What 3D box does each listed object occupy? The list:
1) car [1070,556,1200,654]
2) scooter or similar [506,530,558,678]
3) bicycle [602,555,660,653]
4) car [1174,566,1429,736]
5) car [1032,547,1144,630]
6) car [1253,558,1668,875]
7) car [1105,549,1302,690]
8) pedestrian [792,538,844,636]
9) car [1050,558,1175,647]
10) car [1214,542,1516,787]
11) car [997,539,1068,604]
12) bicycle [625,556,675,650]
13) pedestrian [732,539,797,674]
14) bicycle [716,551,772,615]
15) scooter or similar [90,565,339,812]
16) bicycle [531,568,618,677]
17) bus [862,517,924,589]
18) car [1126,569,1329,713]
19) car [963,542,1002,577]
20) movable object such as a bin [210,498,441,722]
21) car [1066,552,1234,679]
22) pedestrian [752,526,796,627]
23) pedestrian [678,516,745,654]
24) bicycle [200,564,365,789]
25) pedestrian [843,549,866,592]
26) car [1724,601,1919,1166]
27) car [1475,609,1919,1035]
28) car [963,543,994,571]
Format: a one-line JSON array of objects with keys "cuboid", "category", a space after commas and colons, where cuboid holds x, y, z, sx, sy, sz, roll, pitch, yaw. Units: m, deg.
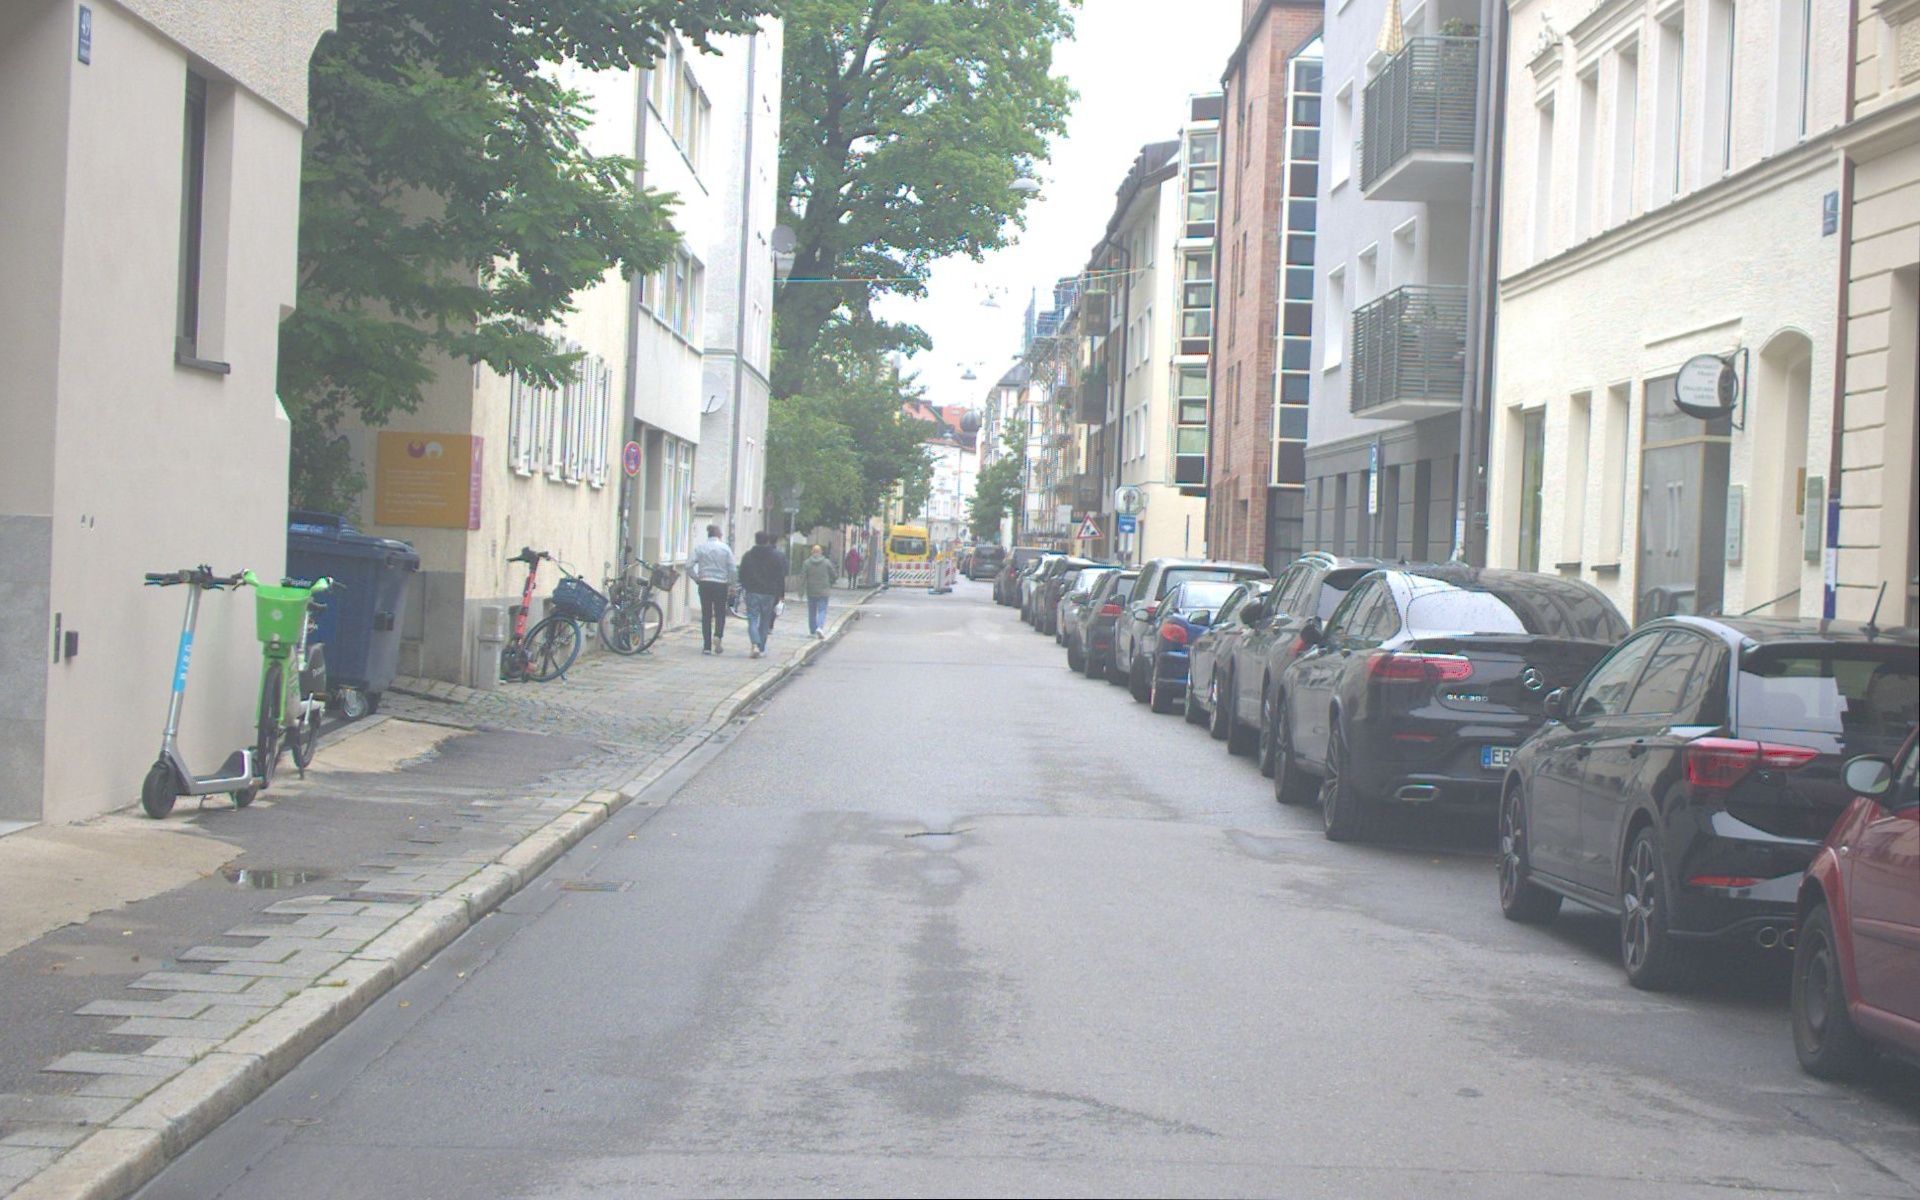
[{"cuboid": [2.839, 0.054, 56.472, 1.745, 1.457, 4.150, 3, 1, -1], "category": "car"}, {"cuboid": [-4.049, 0.033, 32.593, 0.317, 1.371, 1.239, 1, 0, -1], "category": "scooter or similar"}, {"cuboid": [-4.055, 0.042, 42.470, 0.458, 1.155, 1.605, 5, 0, 0], "category": "bicycle"}, {"cuboid": [3.072, 0.421, 31.714, 1.799, 1.381, 4.349, 2, 1, -1], "category": "car"}, {"cuboid": [2.598, -0.258, 70.918, 1.885, 1.550, 4.392, 3, 1, -2], "category": "car"}, {"cuboid": [2.879, 0.597, 20.753, 1.702, 1.601, 4.685, 3, 1, -1], "category": "car"}, {"cuboid": [2.854, 0.195, 41.169, 1.875, 1.565, 4.317, 1, 1, -2], "category": "car"}, {"cuboid": [-2.478, -0.230, 60.054, 0.753, 1.653, 0.906, 4, 0, 0], "category": "pedestrian"}, {"cuboid": [2.673, 0.020, 61.072, 1.836, 1.412, 4.601, 3, 1, -1], "category": "car"}, {"cuboid": [3.030, 0.418, 26.570, 1.676, 1.655, 4.513, 3, 1, -1], "category": "car"}, {"cuboid": [2.247, -0.912, 107.401, 1.801, 1.814, 4.001, 6, 1, -3], "category": "car"}, {"cuboid": [-3.992, 0.030, 44.186, 0.561, 1.155, 1.721, 2, 0, -6], "category": "bicycle"}, {"cuboid": [-2.644, 0.085, 46.582, 0.718, 1.759, 0.838, 4, 0, 0], "category": "pedestrian"}, {"cuboid": [-4.228, -0.345, 67.149, 0.641, 1.213, 1.665, 1, 0, -19], "category": "bicycle"}, {"cuboid": [-3.707, 0.431, 17.196, 0.552, 1.140, 1.357, 5, 1, 16], "category": "scooter or similar"}, {"cuboid": [-3.841, 0.210, 34.328, 0.703, 0.981, 1.823, 6, 0, -5], "category": "bicycle"}, {"cuboid": [-2.942, -2.076, 153.306, 2.593, 3.091, 6.306, 1, 0, 0], "category": "bus"}, {"cuboid": [2.764, 0.390, 36.251, 1.808, 1.358, 3.945, 2, 1, 0], "category": "car"}, {"cuboid": [1.191, -2.201, 185.207, 1.801, 1.706, 3.827, 6, 1, -2], "category": "car"}, {"cuboid": [-4.543, 0.050, 24.707, 1.174, 1.437, 1.248, 7, 2, 5], "category": "movable object such as a bin"}, {"cuboid": [2.491, 0.169, 46.054, 1.839, 1.523, 4.293, 3, 1, -1], "category": "car"}, {"cuboid": [-3.241, -0.414, 60.028, 0.612, 1.707, 0.823, 4, 0, -1], "category": "pedestrian"}, {"cuboid": [-3.352, -0.206, 46.362, 0.718, 1.790, 0.917, 4, 0, 0], "category": "pedestrian"}, {"cuboid": [-3.772, 0.397, 19.261, 0.544, 1.157, 1.882, 4, 1, -2], "category": "bicycle"}, {"cuboid": [-3.671, -1.028, 119.931, 0.756, 1.486, 0.831, 1, 0, 0], "category": "pedestrian"}, {"cuboid": [3.463, 0.819, 9.648, 1.676, 1.487, 3.854, 3, 1, -1], "category": "car"}, {"cuboid": [3.327, 0.811, 14.227, 1.676, 1.388, 4.066, 3, 1, -1], "category": "car"}, {"cuboid": [1.156, -2.691, 213.479, 1.801, 1.608, 4.000, 3, 1, 0], "category": "car"}]
